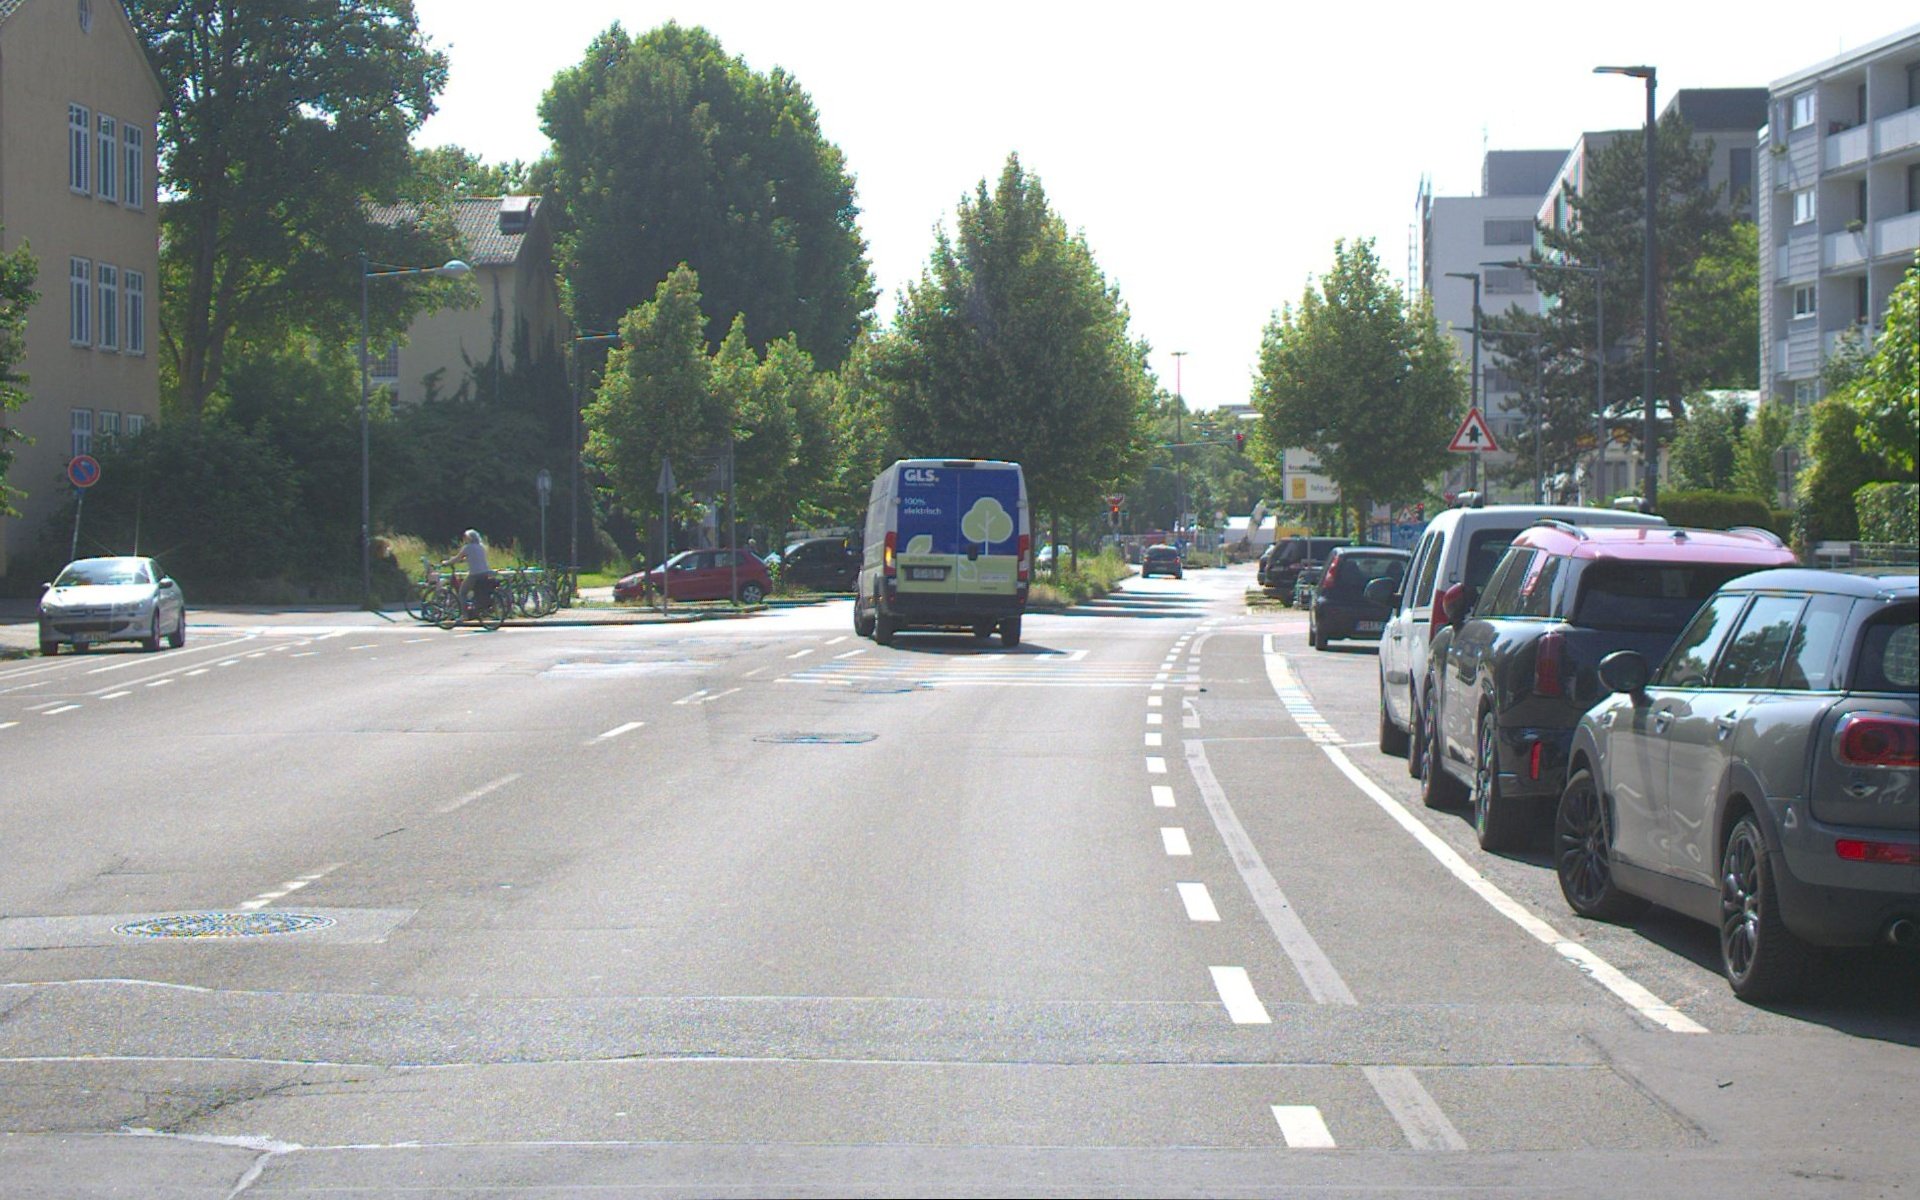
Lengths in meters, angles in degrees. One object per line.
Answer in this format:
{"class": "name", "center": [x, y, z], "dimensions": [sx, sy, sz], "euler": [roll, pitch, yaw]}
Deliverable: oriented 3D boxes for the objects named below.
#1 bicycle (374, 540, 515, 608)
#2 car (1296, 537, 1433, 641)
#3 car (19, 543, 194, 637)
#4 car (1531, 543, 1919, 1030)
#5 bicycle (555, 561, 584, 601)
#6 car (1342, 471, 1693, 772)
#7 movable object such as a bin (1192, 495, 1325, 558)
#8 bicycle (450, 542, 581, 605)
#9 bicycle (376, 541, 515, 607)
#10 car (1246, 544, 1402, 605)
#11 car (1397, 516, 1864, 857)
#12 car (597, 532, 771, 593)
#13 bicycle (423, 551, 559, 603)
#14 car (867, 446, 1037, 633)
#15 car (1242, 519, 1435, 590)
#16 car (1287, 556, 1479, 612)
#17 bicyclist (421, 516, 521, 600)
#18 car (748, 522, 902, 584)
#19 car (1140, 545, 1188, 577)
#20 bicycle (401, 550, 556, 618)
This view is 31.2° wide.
{"class": "bicycle", "center": [-9.791, -0.501, 65.366], "dimensions": [2.544, 1.252, 0.739], "euler": [-1, 1, 3]}
{"class": "car", "center": [5.725, -0.169, 49.037], "dimensions": [1.617, 1.385, 4.000], "euler": [2, 1, 3]}
{"class": "car", "center": [-12.375, -0.171, 50.038], "dimensions": [1.720, 1.262, 4.001], "euler": [-1, 1, -3]}
{"class": "car", "center": [3.380, 0.537, 12.570], "dimensions": [1.762, 1.438, 4.069], "euler": [-1, 1, -2]}
{"class": "bicycle", "center": [-8.889, -0.423, 78.295], "dimensions": [0.520, 0.900, 1.271], "euler": [-1, 0, 0]}
{"class": "car", "center": [3.750, 0.126, 23.860], "dimensions": [1.762, 1.820, 4.598], "euler": [2, 0, 2]}
{"class": "movable object such as a bin", "center": [22.115, -5.458, 254.464], "dimensions": [9.678, 4.534, 3.163], "euler": [1, 1, 7]}
{"class": "bicycle", "center": [-9.027, -0.540, 69.816], "dimensions": [2.545, 1.252, 0.739], "euler": [0, 1, 3]}
{"class": "bicycle", "center": [-9.931, -0.513, 66.425], "dimensions": [2.544, 1.235, 0.739], "euler": [-1, 1, 3]}
{"class": "car", "center": [10.108, -0.713, 95.631], "dimensions": [3.986, 1.634, 1.753], "euler": [0, 1, -7]}
{"class": "car", "center": [3.413, 0.352, 18.272], "dimensions": [1.762, 1.588, 4.313], "euler": [0, 1, 2]}
{"class": "car", "center": [-6.899, -0.951, 85.830], "dimensions": [3.986, 1.461, 2.001], "euler": [-1, 1, -16]}
{"class": "bicycle", "center": [-9.227, -0.455, 67.666], "dimensions": [2.544, 0.984, 0.739], "euler": [-1, 1, 3]}
{"class": "car", "center": [-0.097, -0.871, 49.785], "dimensions": [2.276, 2.515, 6.136], "euler": [-1, 1, 0]}
{"class": "car", "center": [8.969, -1.076, 81.428], "dimensions": [4.106, 1.634, 2.045], "euler": [0, 1, -28]}
{"class": "car", "center": [9.671, -0.368, 78.603], "dimensions": [3.986, 1.232, 1.753], "euler": [0, 1, -21]}
{"class": "bicyclist", "center": [-8.262, -0.717, 58.125], "dimensions": [1.353, 1.398, 0.958], "euler": [0, 2, 32]}
{"class": "car", "center": [-4.016, -1.422, 102.467], "dimensions": [4.175, 1.810, 2.004], "euler": [-1, 2, -33]}
{"class": "car", "center": [9.073, -1.756, 152.983], "dimensions": [1.993, 1.393, 4.000], "euler": [1, 1, 2]}
{"class": "bicycle", "center": [-8.139, -0.270, 58.051], "dimensions": [2.549, 1.109, 0.958], "euler": [0, 2, 32]}
